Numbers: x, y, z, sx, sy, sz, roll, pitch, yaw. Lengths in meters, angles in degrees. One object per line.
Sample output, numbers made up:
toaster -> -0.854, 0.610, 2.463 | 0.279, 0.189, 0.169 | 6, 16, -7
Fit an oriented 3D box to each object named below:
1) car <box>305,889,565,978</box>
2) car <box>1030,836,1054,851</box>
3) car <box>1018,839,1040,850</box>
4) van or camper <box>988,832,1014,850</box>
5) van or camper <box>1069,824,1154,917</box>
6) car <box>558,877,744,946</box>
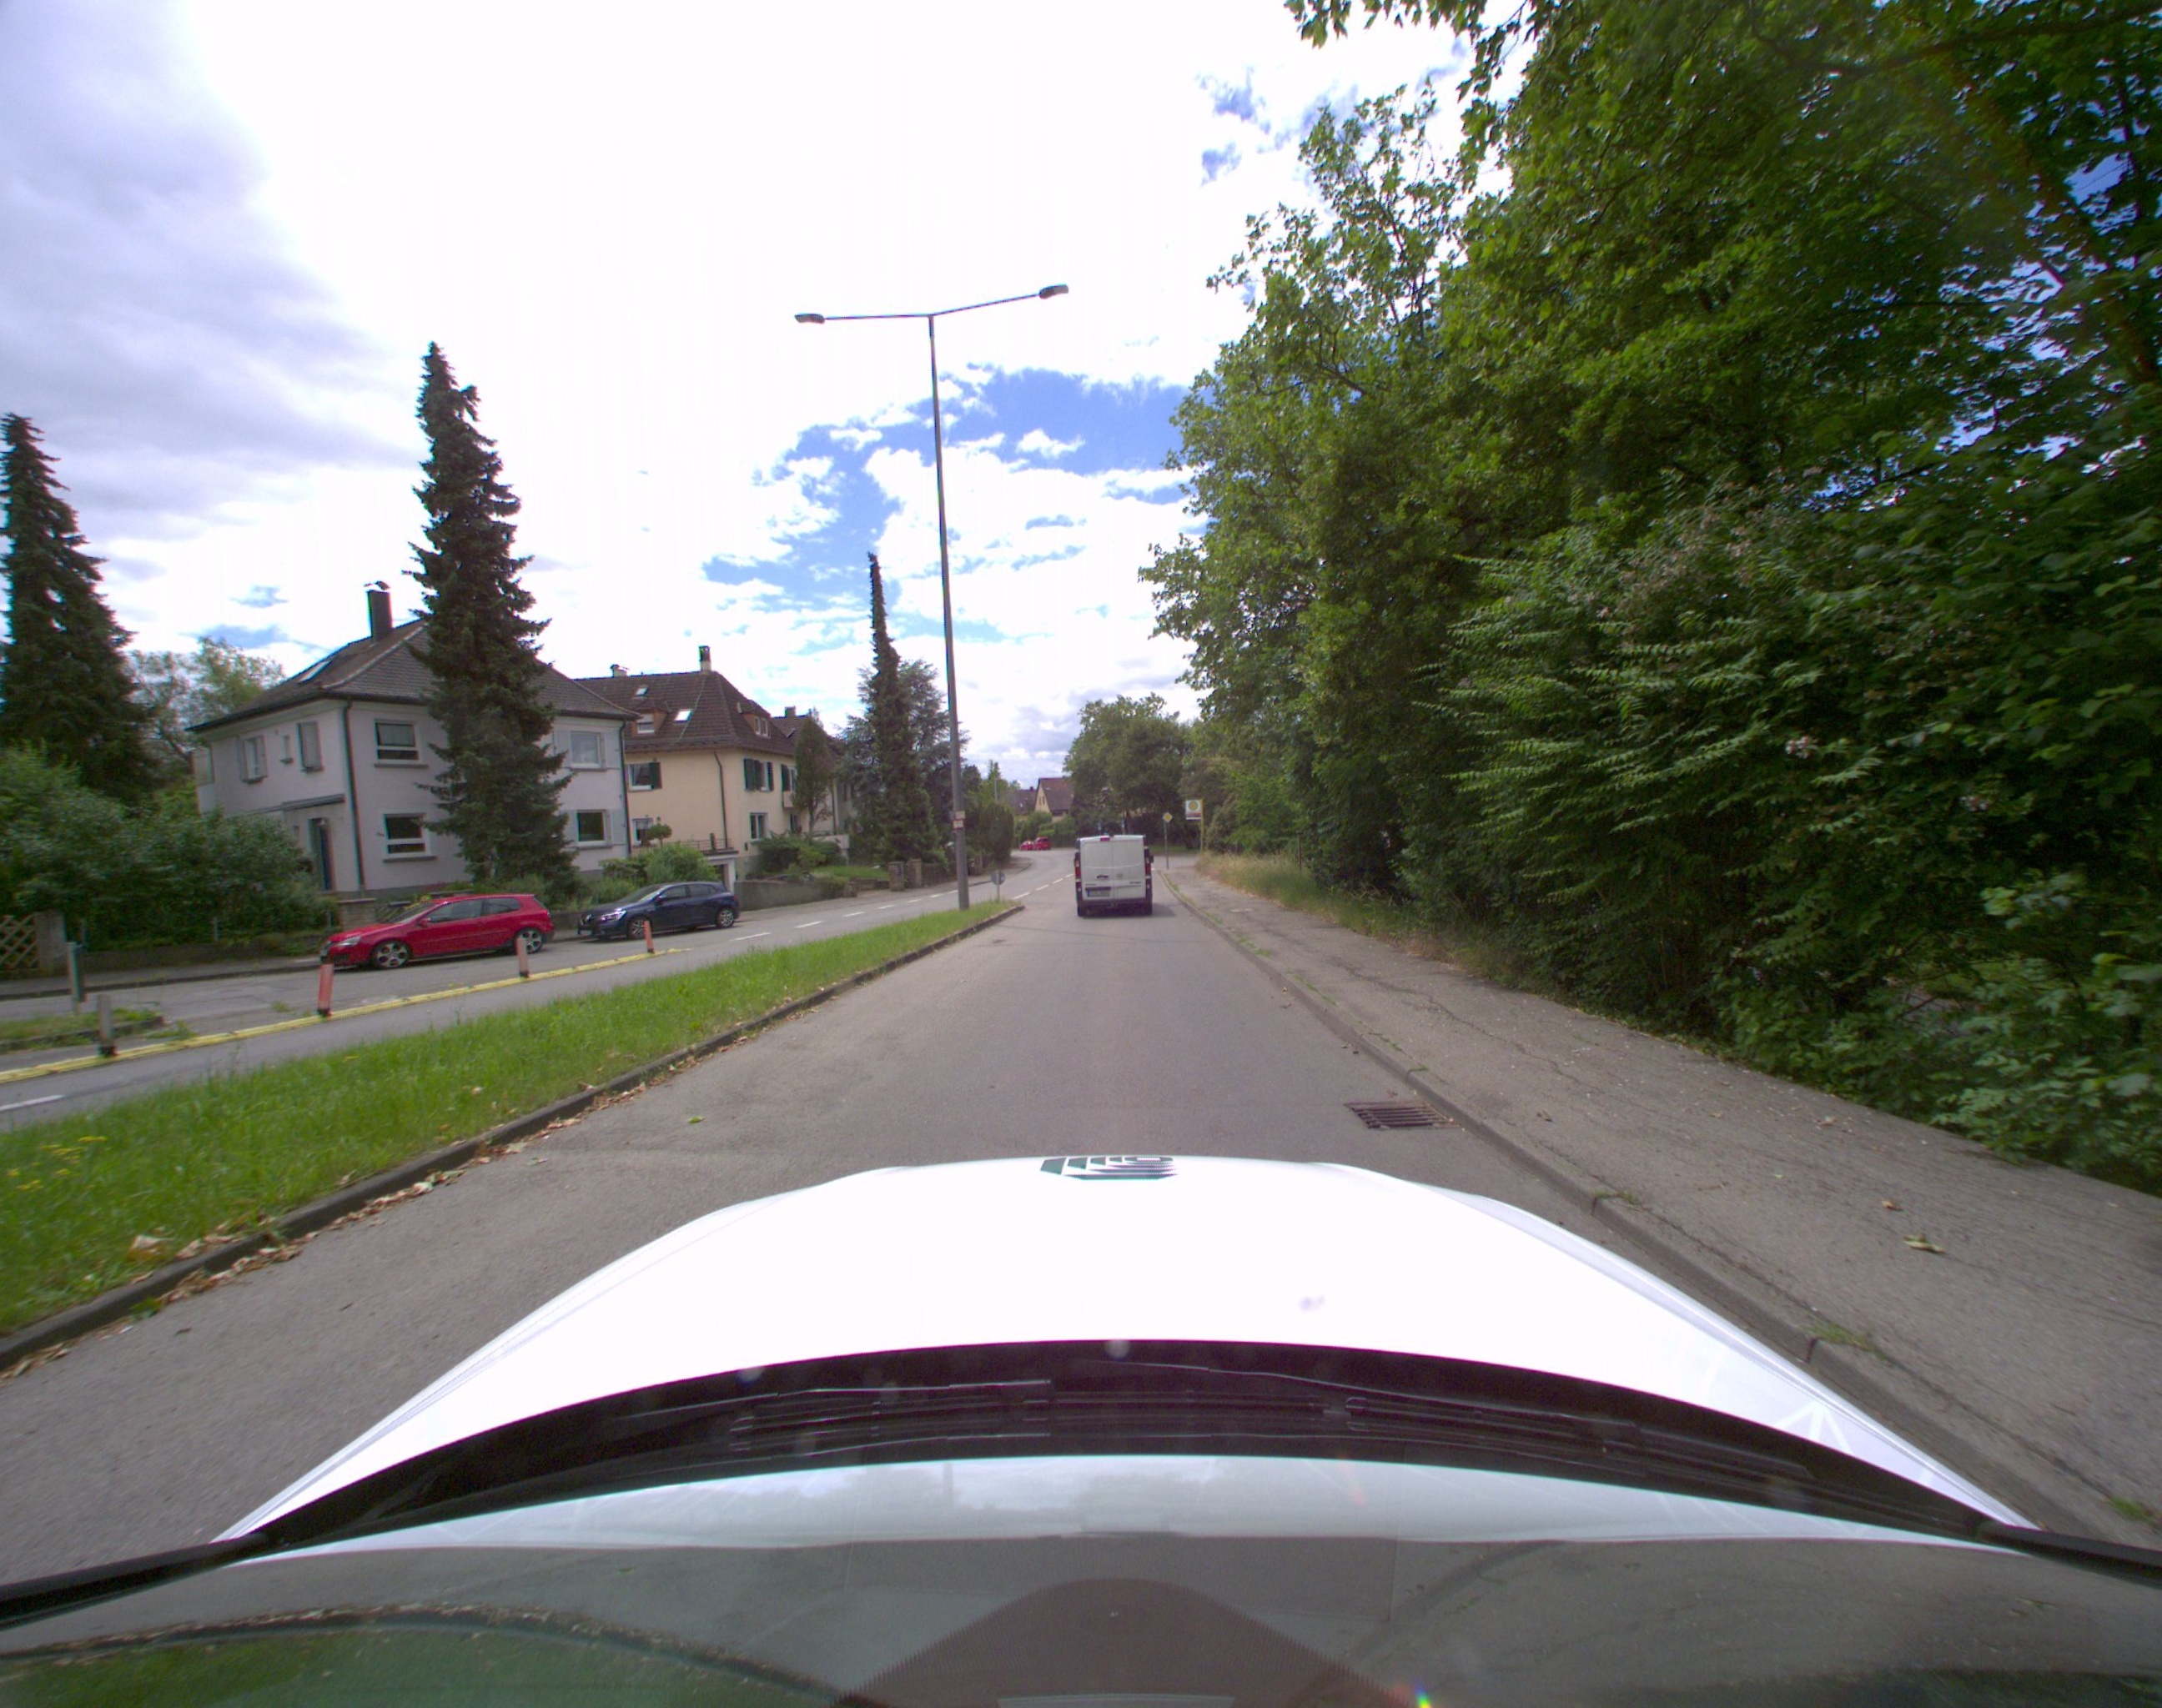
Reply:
car -> -14.665, 1.717, 18.754 | 1.710, 1.473, 4.307 | -2, 1, 34
car -> -5.352, -1.437, 112.037 | 1.767, 1.797, 4.914 | -4, 2, -21
car -> -7.510, -1.392, 116.817 | 1.721, 1.467, 4.233 | -4, 2, -25
van or camper -> -12.761, -1.989, 129.452 | 2.077, 2.674, 6.278 | -4, 2, -24
van or camper -> 0.886, 0.312, 21.436 | 1.915, 2.013, 4.836 | -2, 3, 4
car -> -11.927, 1.535, 22.916 | 1.710, 1.473, 4.342 | -2, 1, 29
